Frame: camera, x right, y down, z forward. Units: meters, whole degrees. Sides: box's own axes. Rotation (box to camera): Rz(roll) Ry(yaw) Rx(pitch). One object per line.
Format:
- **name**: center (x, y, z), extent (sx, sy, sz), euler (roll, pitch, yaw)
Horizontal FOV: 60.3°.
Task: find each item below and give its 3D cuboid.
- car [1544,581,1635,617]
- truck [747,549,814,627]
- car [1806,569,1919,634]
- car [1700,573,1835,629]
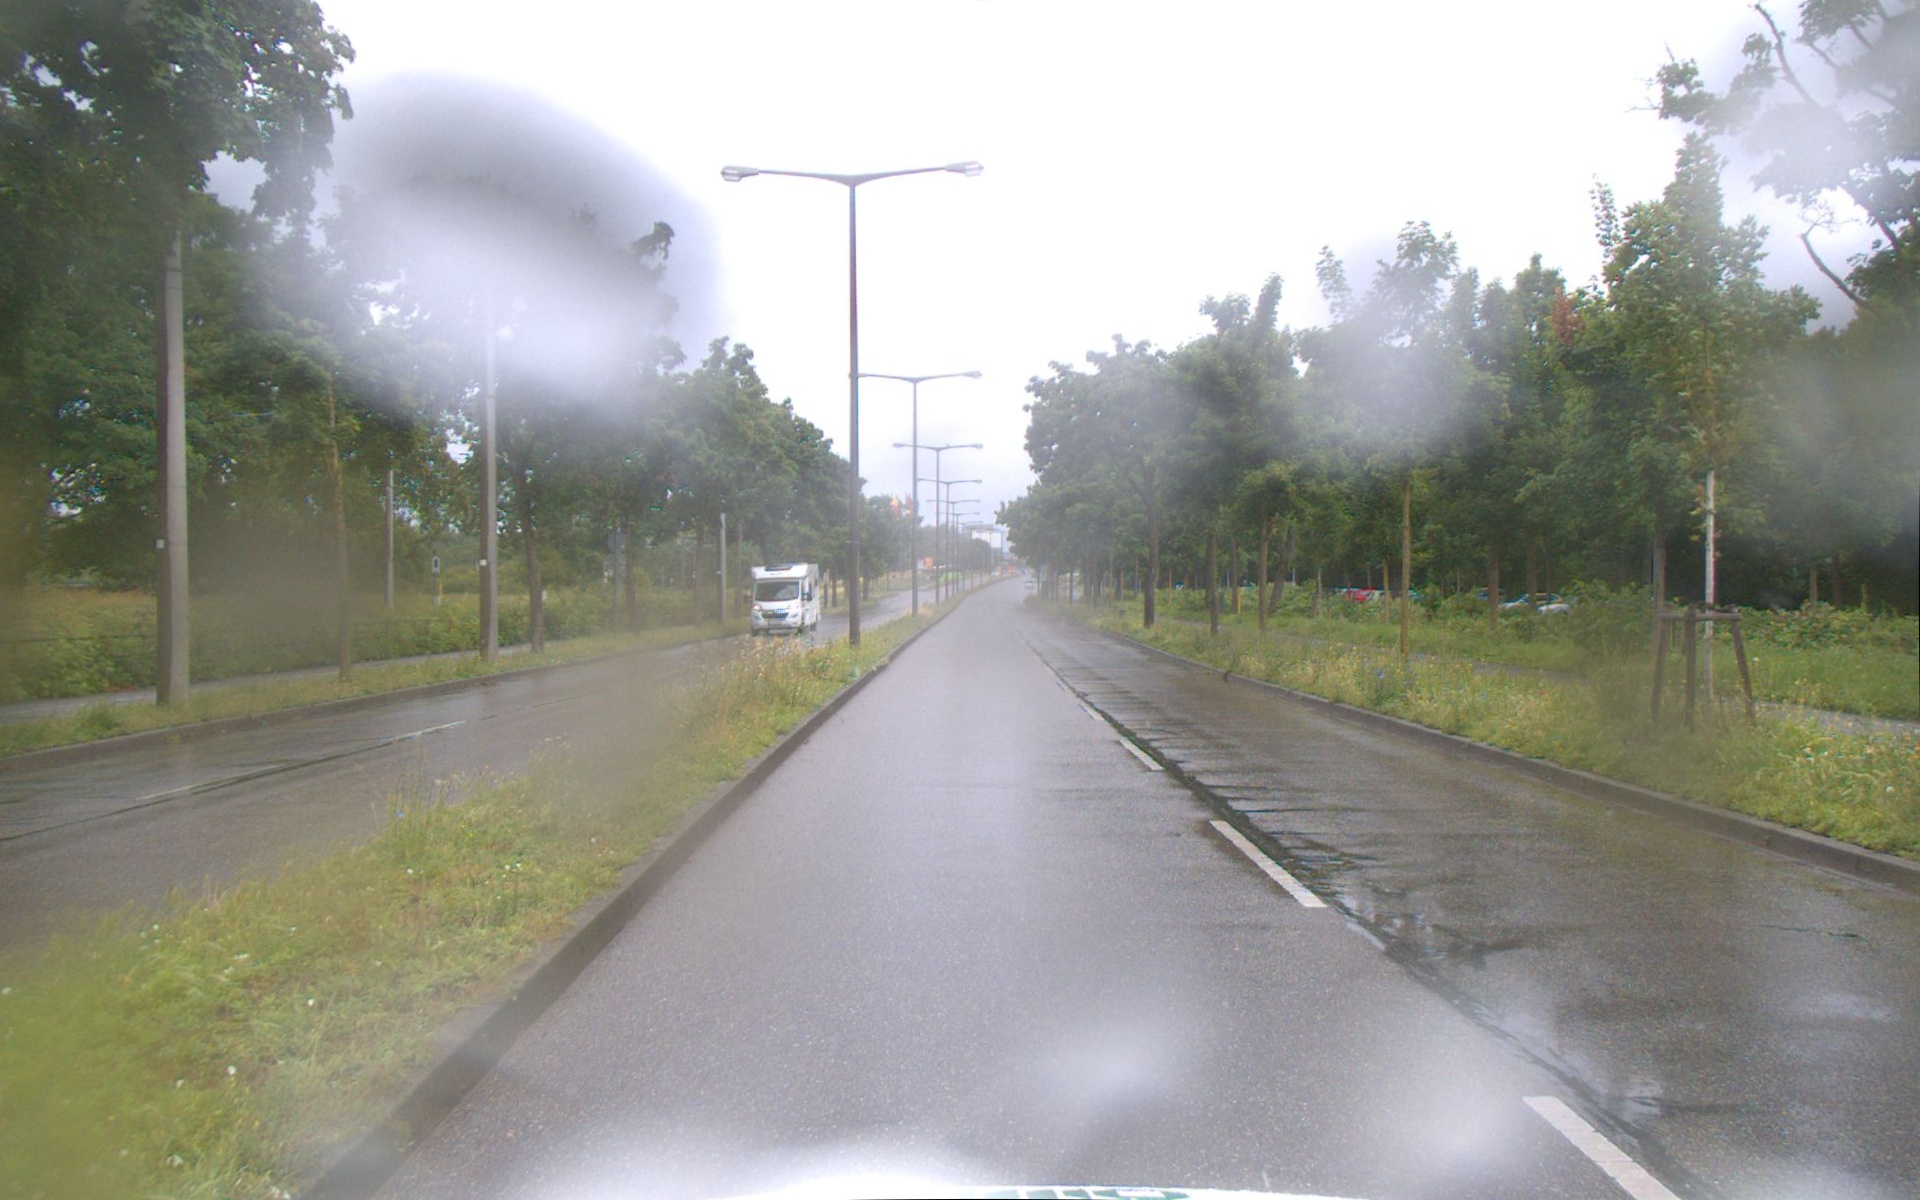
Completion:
- **car**: center (31.679, -0.047, 83.291), extent (3.903, 1.669, 1.808), euler (2, 0, 6)
- **truck**: center (-7.066, -0.444, 65.592), extent (2.094, 2.893, 5.072), euler (-2, 0, -1)
- **car**: center (27.773, 0.074, 49.566), extent (3.874, 1.852, 1.897), euler (2, 0, 1)
- **car**: center (28.735, 0.022, 58.938), extent (3.874, 1.852, 1.897), euler (2, 0, 1)
